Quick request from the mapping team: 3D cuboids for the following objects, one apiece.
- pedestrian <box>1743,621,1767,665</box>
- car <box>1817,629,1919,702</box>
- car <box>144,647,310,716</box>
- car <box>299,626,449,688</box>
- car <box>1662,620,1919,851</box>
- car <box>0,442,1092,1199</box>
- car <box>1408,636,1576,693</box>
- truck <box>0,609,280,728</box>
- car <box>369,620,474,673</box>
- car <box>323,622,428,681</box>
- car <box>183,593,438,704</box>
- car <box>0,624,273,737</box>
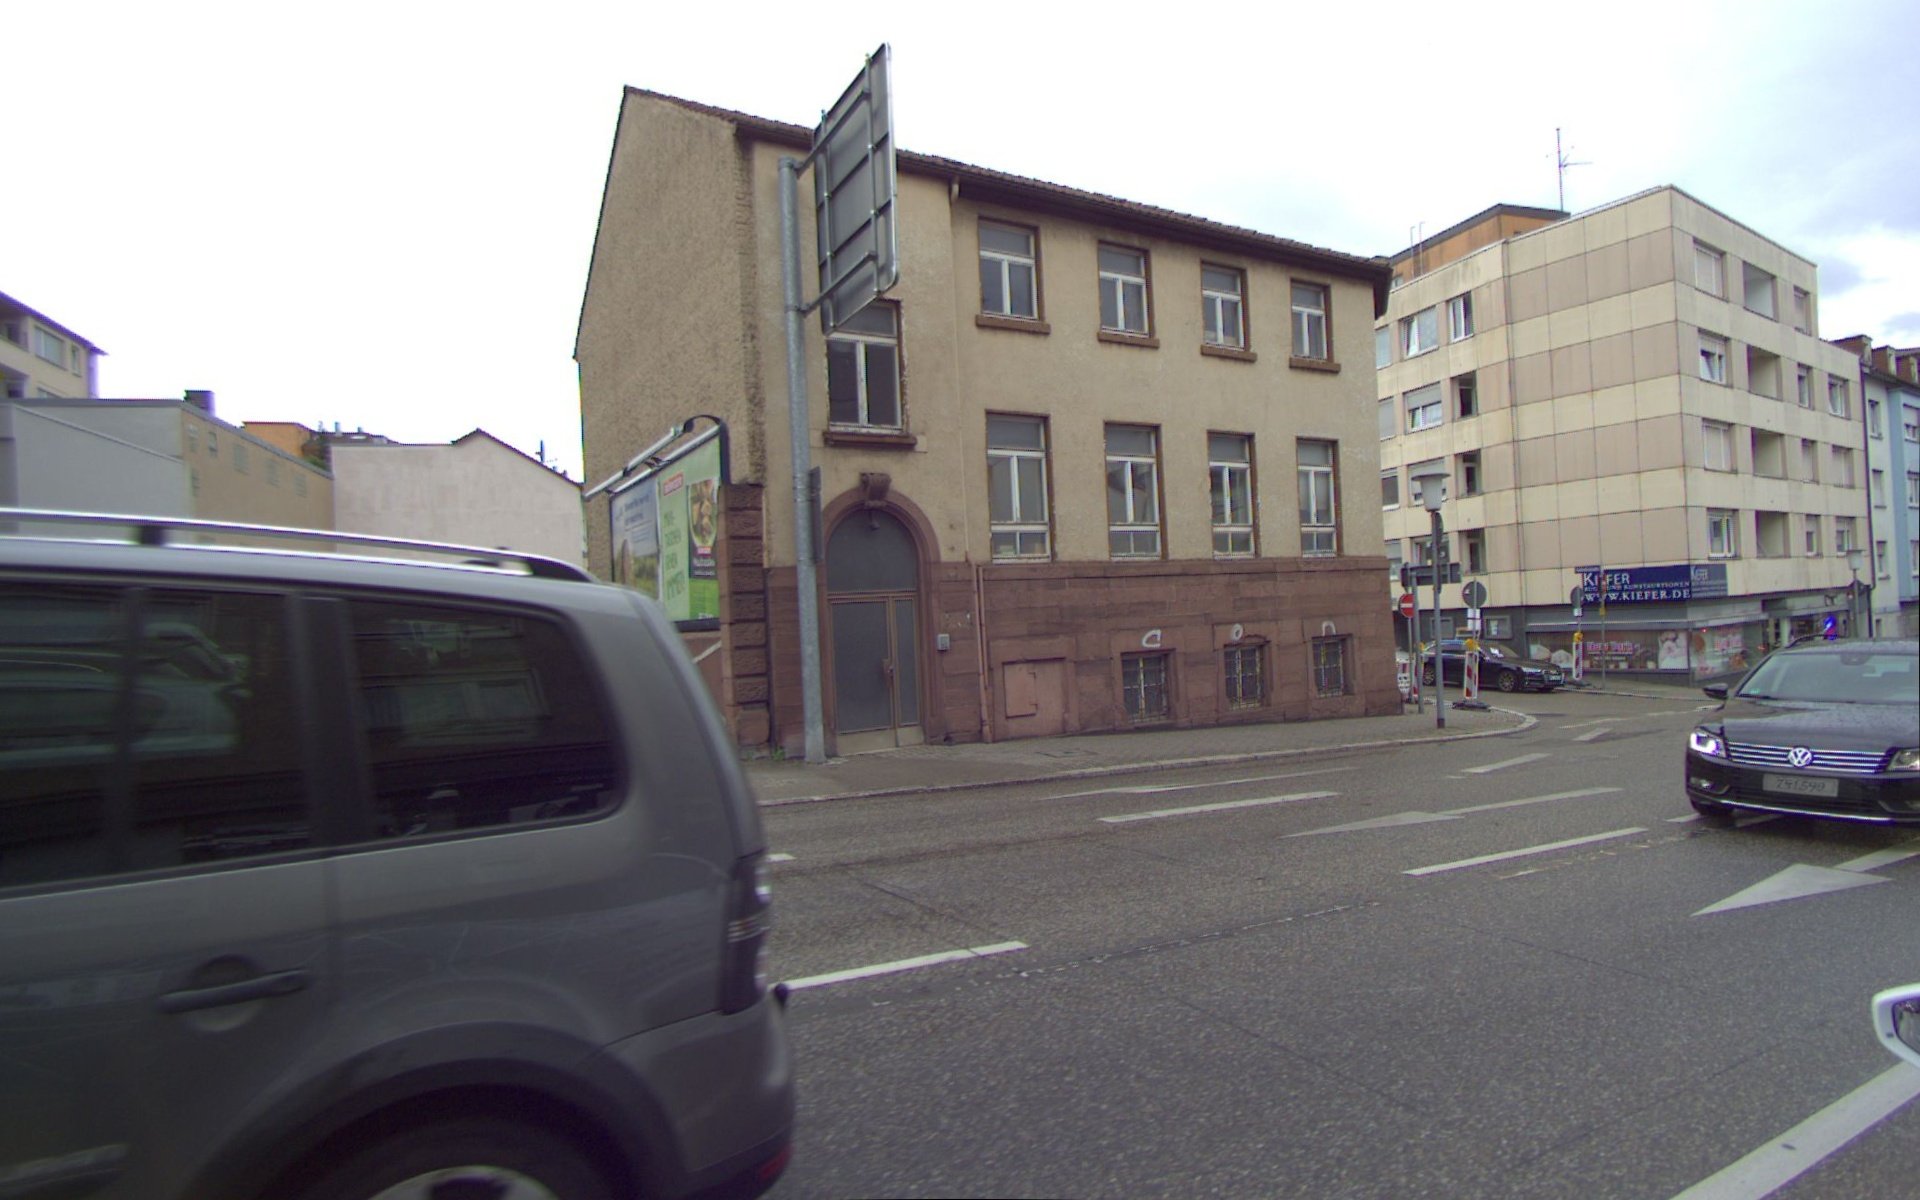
[{"bbox_3d":[32.221,1.740,40.708,0.566,1.753,0.595,-4,1,-38],"label":"pedestrian"},{"bbox_3d":[22.395,1.596,24.333,4.109,1.606,1.702,3,-6,-39],"label":"car"},{"bbox_3d":[-17.083,1.863,23.540,2.801,1.292,1.316,-4,1,-20],"label":"car"},{"bbox_3d":[-18.257,1.749,31.497,3.703,1.572,1.785,-4,1,-21],"label":"car"},{"bbox_3d":[7.725,0.995,8.505,4.330,1.535,1.710,3,-3,-38],"label":"car"},{"bbox_3d":[-2.087,0.654,1.997,4.507,1.727,1.799,2,-2,-30],"label":"car"},{"bbox_3d":[16.120,1.919,30.680,1.871,1.532,4.323,1,-1,-23],"label":"car"},{"bbox_3d":[-16.847,1.334,20.867,4.168,1.998,1.710,-4,1,-26],"label":"truck"},{"bbox_3d":[-21.672,1.841,40.536,3.444,1.861,1.522,-4,1,-20],"label":"car"},{"bbox_3d":[-19.847,1.730,34.217,2.801,1.761,1.316,-4,1,-20],"label":"car"},{"bbox_3d":[-18.187,1.290,28.491,5.542,2.593,2.125,-4,1,-19],"label":"car"},{"bbox_3d":[-15.163,1.420,18.736,3.496,1.693,1.671,-4,1,-23],"label":"car"}]
